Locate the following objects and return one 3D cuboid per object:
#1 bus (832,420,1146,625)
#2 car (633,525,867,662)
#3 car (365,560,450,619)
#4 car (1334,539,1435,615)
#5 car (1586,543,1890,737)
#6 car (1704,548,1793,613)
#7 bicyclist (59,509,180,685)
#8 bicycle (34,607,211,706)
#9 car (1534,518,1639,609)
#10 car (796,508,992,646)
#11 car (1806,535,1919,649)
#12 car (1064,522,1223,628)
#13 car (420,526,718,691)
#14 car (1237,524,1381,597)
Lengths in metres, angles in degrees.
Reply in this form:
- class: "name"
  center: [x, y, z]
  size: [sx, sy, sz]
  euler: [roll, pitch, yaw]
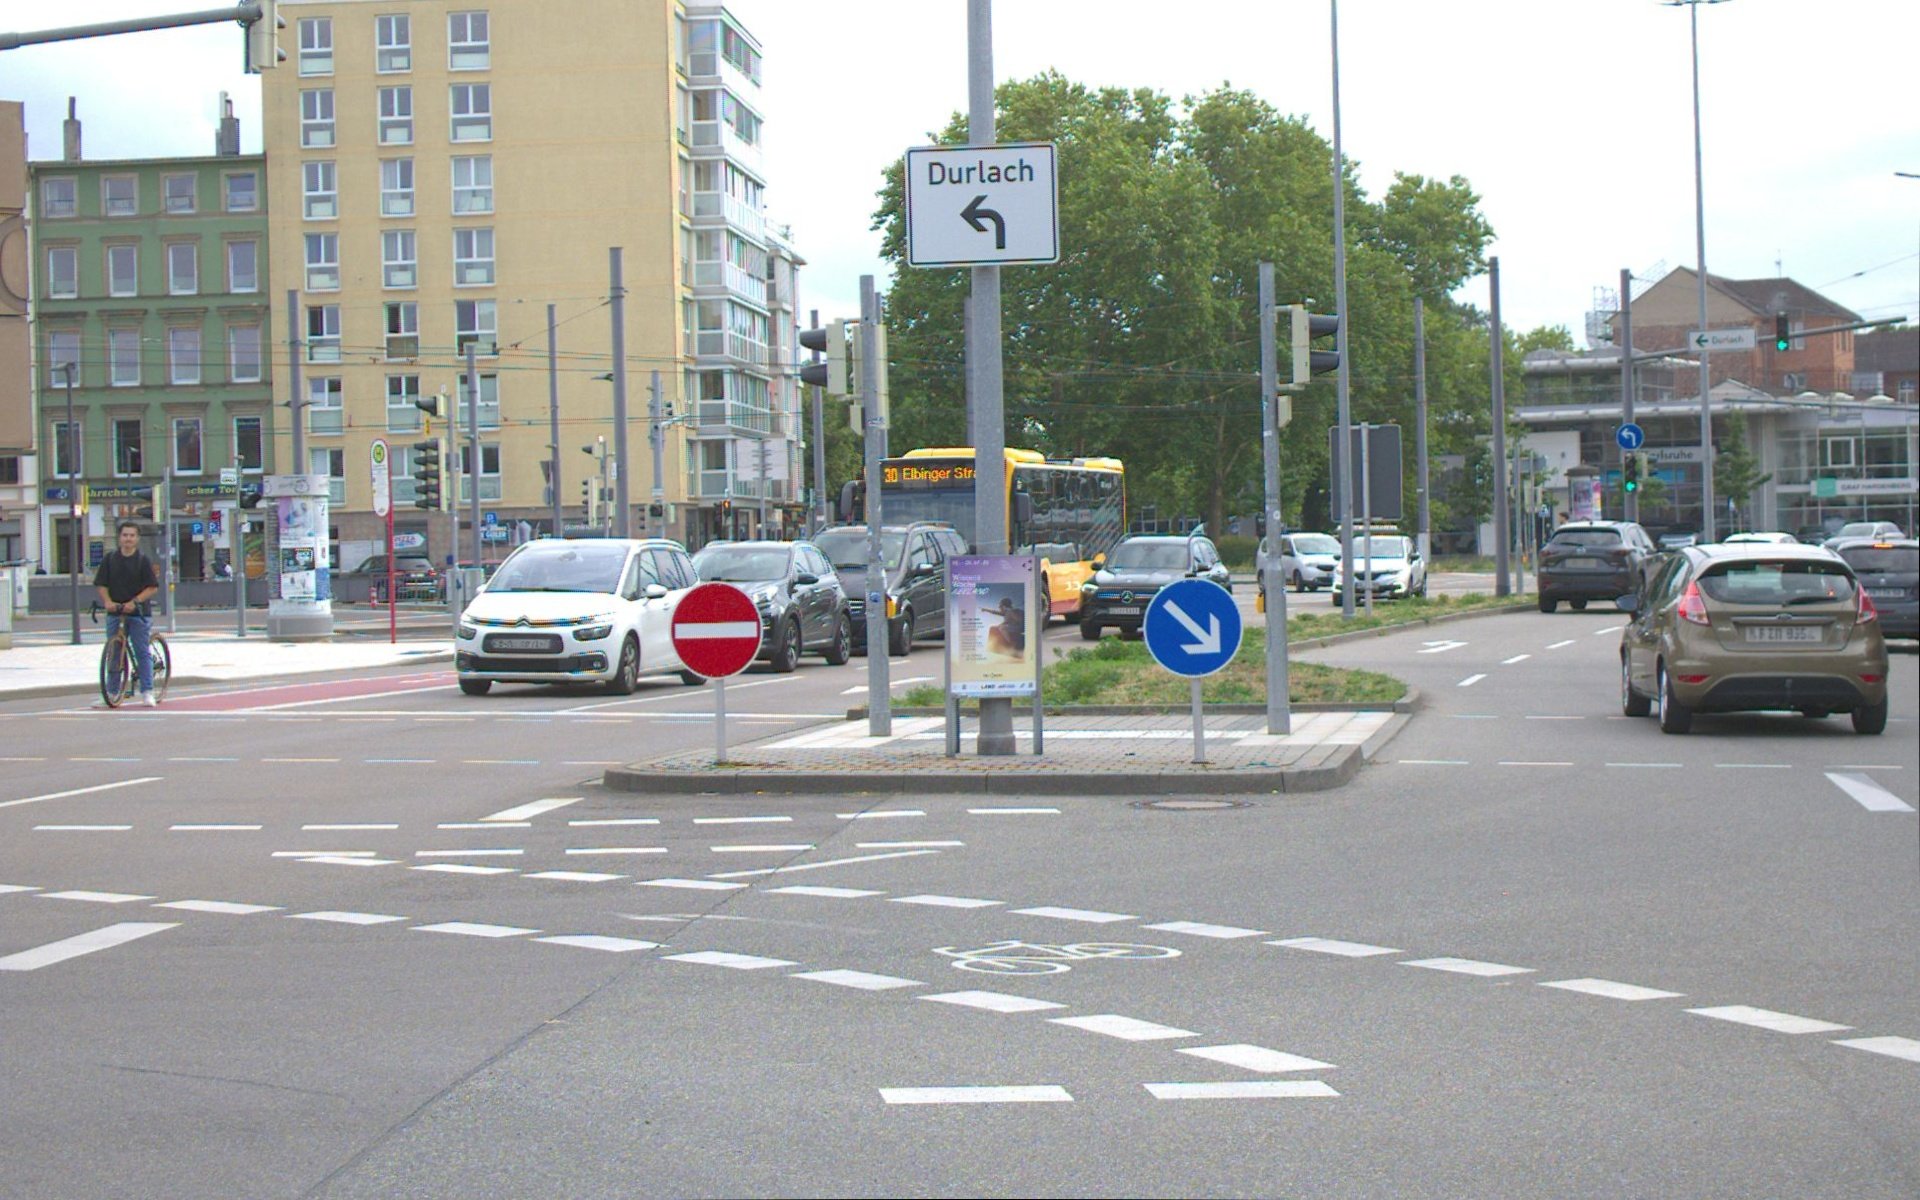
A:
- class: "bus"
  center: [0.770, -1.304, 60.946]
  size: [3.149, 3.244, 12.407]
  euler: [1, 1, 12]
- class: "car"
  center: [-2.632, -0.102, 44.125]
  size: [1.994, 1.645, 4.288]
  euler: [1, 1, 11]
- class: "car"
  center: [-19.262, -0.393, 119.984]
  size: [1.994, 2.007, 3.999]
  euler: [1, 1, 6]
- class: "car"
  center: [9.685, -0.528, 78.151]
  size: [1.994, 1.645, 4.510]
  euler: [1, 1, 11]
- class: "car"
  center: [6.030, 0.271, 27.016]
  size: [1.695, 1.400, 3.700]
  euler: [1, 1, 3]
- class: "car"
  center: [17.821, -0.448, 77.607]
  size: [1.712, 1.415, 3.997]
  euler: [1, 1, 16]
- class: "bicyclist"
  center: [-8.072, -0.033, 33.038]
  size: [0.867, 1.663, 0.881]
  euler: [1, 1, 6]
- class: "bicycle"
  center: [-8.058, 0.526, 33.191]
  size: [0.862, 0.873, 2.518]
  euler: [1, 1, 6]
- class: "car"
  center: [11.516, -0.678, 63.183]
  size: [1.835, 1.609, 3.544]
  euler: [1, 1, 11]
- class: "car"
  center: [-0.907, -0.345, 49.996]
  size: [1.994, 1.892, 4.288]
  euler: [1, 1, 11]
- class: "car"
  center: [12.103, -0.121, 45.193]
  size: [1.712, 1.415, 3.997]
  euler: [1, 1, 16]
- class: "car"
  center: [3.044, -0.417, 56.137]
  size: [1.994, 1.645, 4.510]
  euler: [1, 1, 11]
- class: "car"
  center: [-4.115, 0.057, 36.924]
  size: [1.994, 1.645, 4.288]
  euler: [1, 1, 11]
- class: "car"
  center: [9.825, -1.121, 97.072]
  size: [1.993, 2.007, 4.000]
  euler: [0, 1, -32]
